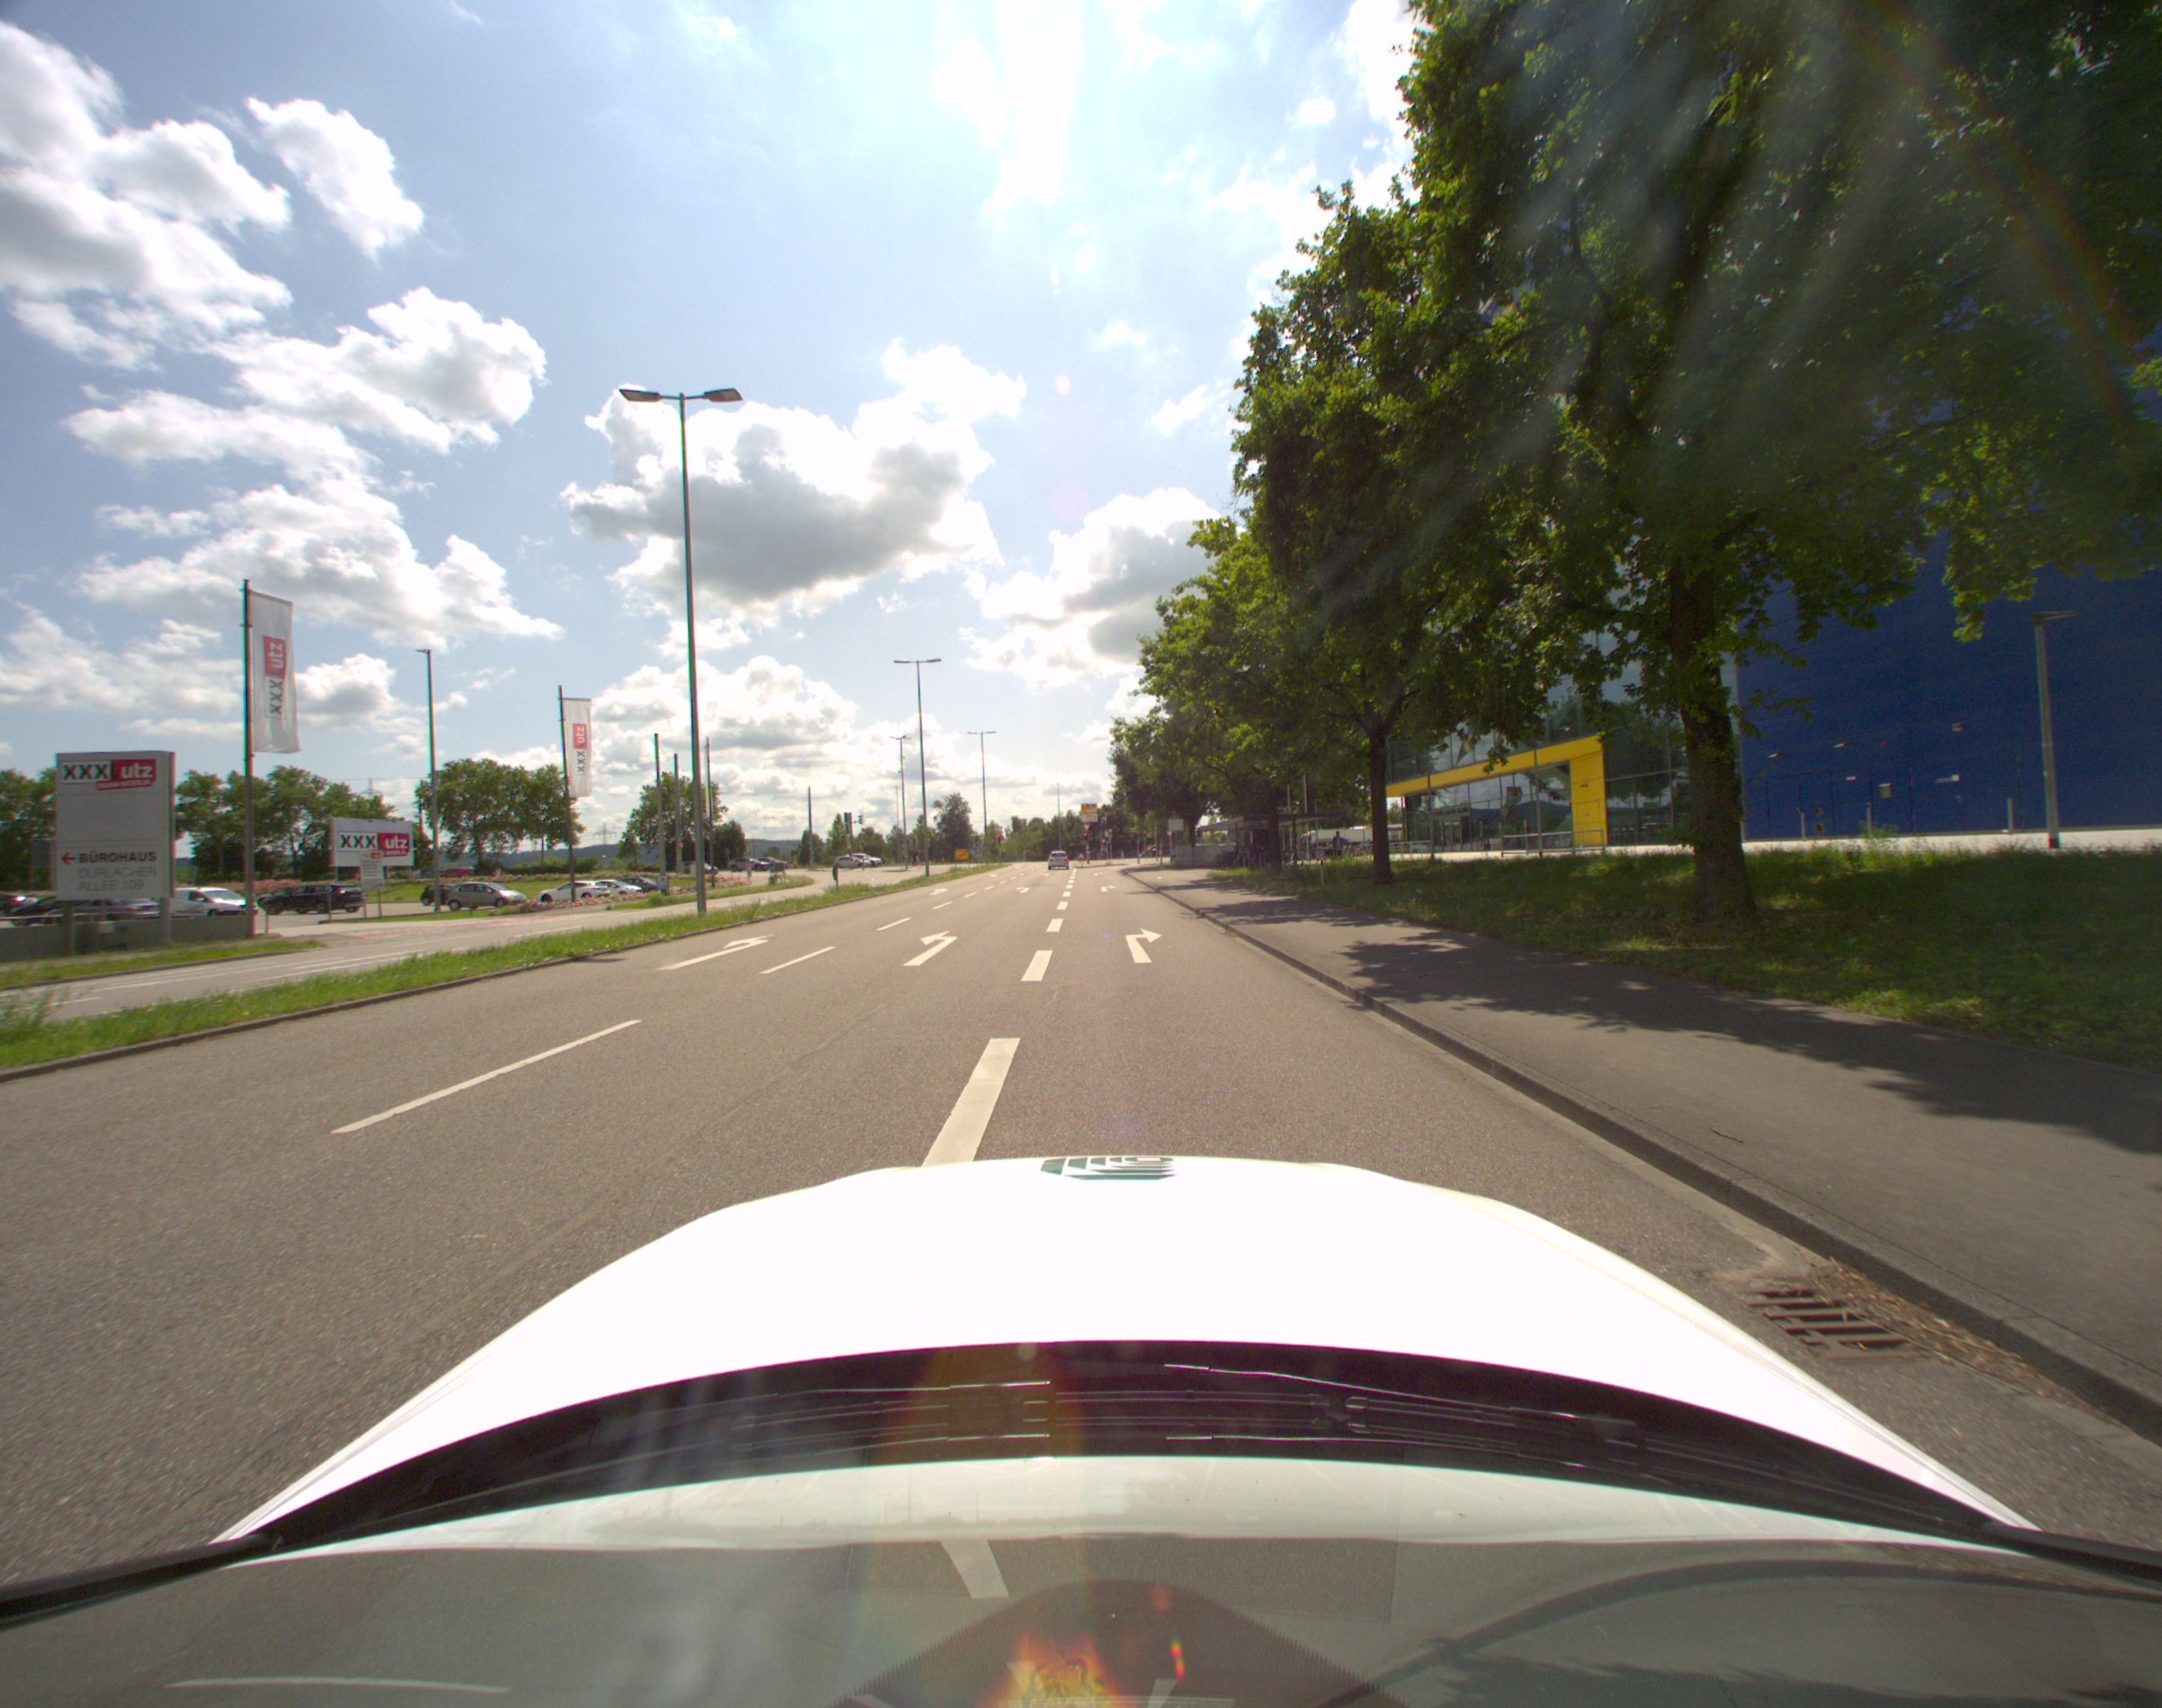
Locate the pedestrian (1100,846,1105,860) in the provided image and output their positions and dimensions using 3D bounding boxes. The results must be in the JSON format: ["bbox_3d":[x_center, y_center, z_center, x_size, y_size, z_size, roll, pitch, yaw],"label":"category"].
[{"bbox_3d":[2.901,-0.123,108.754,0.609,1.769,0.672,-2,0,1],"label":"pedestrian"}]

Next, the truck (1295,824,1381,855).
[{"bbox_3d":[38.613,-2.199,122.583,11.919,4.104,2.952,-2,0,0],"label":"truck"}]

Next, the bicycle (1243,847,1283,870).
[{"bbox_3d":[9.129,0.230,40.797,1.859,0.994,0.423,-5,0,-5],"label":"bicycle"}]

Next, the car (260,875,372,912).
[{"bbox_3d":[-44.863,2.293,47.841,4.568,1.989,1.999,-2,-1,-1],"label":"car"}]

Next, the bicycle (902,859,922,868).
[{"bbox_3d":[-18.181,1.021,87.553,2.011,0.999,0.622,-1,0,-1],"label":"bicycle"}]

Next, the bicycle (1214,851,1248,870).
[{"bbox_3d":[8.820,0.369,47.890,1.859,0.994,0.423,-4,0,-5],"label":"bicycle"}]

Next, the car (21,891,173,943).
[{"bbox_3d":[-44.830,2.846,37.181,4.336,1.989,1.999,-3,0,-1],"label":"car"}]

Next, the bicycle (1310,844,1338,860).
[{"bbox_3d":[16.937,-0.149,56.772,1.858,0.994,0.464,-3,0,-5],"label":"bicycle"}]

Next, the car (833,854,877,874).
[{"bbox_3d":[-25.647,1.139,92.589,4.336,1.989,1.999,-3,0,-1],"label":"car"}]

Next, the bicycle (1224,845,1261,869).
[{"bbox_3d":[8.775,0.186,44.232,1.889,1.170,0.424,-4,0,1],"label":"bicycle"}]

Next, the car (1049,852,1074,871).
[{"bbox_3d":[-1.613,0.590,68.606,1.888,1.469,3.834,-1,0,1],"label":"car"}]

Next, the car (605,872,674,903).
[{"bbox_3d":[-32.773,2.435,60.574,3.988,2.013,1.993,-3,0,-11],"label":"car"}]

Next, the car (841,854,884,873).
[{"bbox_3d":[-25.547,1.108,95.198,4.336,1.989,1.999,-3,0,-1],"label":"car"}]

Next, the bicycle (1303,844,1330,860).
[{"bbox_3d":[17.187,-0.147,59.468,1.855,0.994,0.424,-3,0,1],"label":"bicycle"}]

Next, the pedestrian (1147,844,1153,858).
[{"bbox_3d":[9.096,-0.429,107.546,0.673,1.748,0.637,-2,1,2],"label":"pedestrian"}]

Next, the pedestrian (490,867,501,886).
[{"bbox_3d":[-56.817,2.176,79.051,0.529,1.810,0.599,-3,0,10],"label":"pedestrian"}]

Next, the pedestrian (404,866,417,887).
[{"bbox_3d":[-67.362,2.275,81.820,0.561,2.013,0.779,-3,0,21],"label":"pedestrian"}]

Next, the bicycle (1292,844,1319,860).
[{"bbox_3d":[16.747,-0.141,60.675,1.925,1.108,0.501,-3,-2,-18],"label":"bicycle"}]

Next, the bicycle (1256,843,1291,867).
[{"bbox_3d":[11.006,0.045,46.532,1.859,1.231,0.423,-4,0,-5],"label":"bicycle"}]

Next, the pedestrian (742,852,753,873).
[{"bbox_3d":[-30.254,0.776,73.946,0.869,1.837,0.791,0,-1,-29],"label":"pedestrian"}]

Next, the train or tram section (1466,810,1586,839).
[{"bbox_3d":[57.238,-3.777,104.933,14.025,3.186,3.043,-2,-1,-4],"label":"train or tram section"}]

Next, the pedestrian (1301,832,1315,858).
[{"bbox_3d":[18.723,-0.701,67.185,1.000,2.072,0.978,-3,-2,14],"label":"pedestrian"}]

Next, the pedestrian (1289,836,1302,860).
[{"bbox_3d":[17.594,-0.503,66.803,1.000,1.902,0.978,-3,-2,14],"label":"pedestrian"}]

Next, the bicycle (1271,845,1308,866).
[{"bbox_3d":[11.368,0.064,44.433,1.859,0.994,0.423,-4,-1,-5],"label":"bicycle"}]

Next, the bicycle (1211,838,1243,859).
[{"bbox_3d":[8.974,-0.357,50.077,1.859,1.187,0.423,-4,0,-5],"label":"bicycle"}]

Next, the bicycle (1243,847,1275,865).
[{"bbox_3d":[11.015,0.123,50.320,1.855,1.034,0.424,-3,0,1],"label":"bicycle"}]

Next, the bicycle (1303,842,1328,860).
[{"bbox_3d":[16.799,-0.218,58.434,1.679,1.157,0.459,-4,0,-15],"label":"bicycle"}]

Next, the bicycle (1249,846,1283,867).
[{"bbox_3d":[11.010,0.155,48.405,1.859,1.116,0.423,-3,-1,-5],"label":"bicycle"}]

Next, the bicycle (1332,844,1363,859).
[{"bbox_3d":[17.139,-0.154,52.348,1.859,0.882,0.423,-4,0,-5],"label":"bicycle"}]

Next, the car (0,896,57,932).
[{"bbox_3d":[-65.754,3.725,49.488,4.336,1.989,1.999,-3,0,-1],"label":"car"}]

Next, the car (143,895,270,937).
[{"bbox_3d":[-45.632,3.217,42.554,4.336,1.839,1.999,-3,0,-1],"label":"car"}]

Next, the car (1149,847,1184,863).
[{"bbox_3d":[10.617,0.086,100.988,3.977,1.782,1.908,-3,0,-2],"label":"car"}]

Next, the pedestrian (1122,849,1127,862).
[{"bbox_3d":[5.656,0.220,105.706,0.520,1.721,0.731,-3,0,4],"label":"pedestrian"}]

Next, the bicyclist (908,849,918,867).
[{"bbox_3d":[-18.057,0.447,87.553,0.918,1.846,0.611,-2,0,-1],"label":"bicyclist"}]

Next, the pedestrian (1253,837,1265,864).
[{"bbox_3d":[11.152,-0.199,51.000,0.543,1.662,0.478,-3,0,-2],"label":"pedestrian"}]

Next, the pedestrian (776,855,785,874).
[{"bbox_3d":[-29.803,1.062,80.745,0.800,1.837,0.859,0,-1,-29],"label":"pedestrian"}]

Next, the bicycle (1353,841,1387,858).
[{"bbox_3d":[17.309,-0.256,48.784,1.856,0.881,0.470,-4,0,0],"label":"bicycle"}]

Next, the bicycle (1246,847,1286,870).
[{"bbox_3d":[9.159,0.225,40.308,1.859,0.994,0.423,-5,0,-5],"label":"bicycle"}]

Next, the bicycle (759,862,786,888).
[{"bbox_3d":[-21.736,1.477,57.391,1.014,1.675,2.049,-3,0,0],"label":"bicycle"}]

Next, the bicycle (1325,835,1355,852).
[{"bbox_3d":[17.467,-0.685,55.014,1.859,0.994,0.423,-4,-1,-5],"label":"bicycle"}]

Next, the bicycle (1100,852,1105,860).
[{"bbox_3d":[2.914,0.237,108.788,0.616,1.087,1.723,-2,0,2],"label":"bicycle"}]

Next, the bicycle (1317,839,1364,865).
[{"bbox_3d":[12.545,-0.075,39.393,1.988,1.108,0.581,-5,-1,38],"label":"bicycle"}]

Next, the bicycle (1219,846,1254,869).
[{"bbox_3d":[8.856,0.170,46.460,1.859,1.187,0.423,-4,0,-5],"label":"bicycle"}]

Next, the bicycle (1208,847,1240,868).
[{"bbox_3d":[9.009,0.227,51.393,1.859,1.187,0.423,-3,0,-5],"label":"bicycle"}]

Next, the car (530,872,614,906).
[{"bbox_3d":[-34.414,2.382,55.163,4.336,1.989,1.999,-3,0,-1],"label":"car"}]

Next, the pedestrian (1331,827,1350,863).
[{"bbox_3d":[12.717,-0.434,39.876,0.626,1.721,0.528,-5,-2,36],"label":"pedestrian"}]

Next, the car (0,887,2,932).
[{"bbox_3d":[-50.252,2.541,35.242,4.336,1.989,1.999,-3,-2,-1],"label":"car"}]

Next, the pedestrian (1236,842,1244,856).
[{"bbox_3d":[21.134,-0.715,108.368,0.924,1.807,0.736,-2,0,-1],"label":"pedestrian"}]

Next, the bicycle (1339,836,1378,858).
[{"bbox_3d":[17.011,-0.428,49.946,2.127,1.229,0.723,-4,0,10],"label":"bicycle"}]

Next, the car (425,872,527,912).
[{"bbox_3d":[-35.283,2.207,47.555,4.336,1.989,1.999,-3,0,-1],"label":"car"}]

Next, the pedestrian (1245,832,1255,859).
[{"bbox_3d":[10.799,-0.545,52.073,0.540,1.662,0.548,-3,0,11],"label":"pedestrian"}]

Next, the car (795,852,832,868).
[{"bbox_3d":[-35.759,0.788,108.801,4.348,1.989,1.993,-3,0,-10],"label":"car"}]

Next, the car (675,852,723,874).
[{"bbox_3d":[-39.583,0.969,84.414,3.956,2.013,2.009,-3,0,16],"label":"car"}]
